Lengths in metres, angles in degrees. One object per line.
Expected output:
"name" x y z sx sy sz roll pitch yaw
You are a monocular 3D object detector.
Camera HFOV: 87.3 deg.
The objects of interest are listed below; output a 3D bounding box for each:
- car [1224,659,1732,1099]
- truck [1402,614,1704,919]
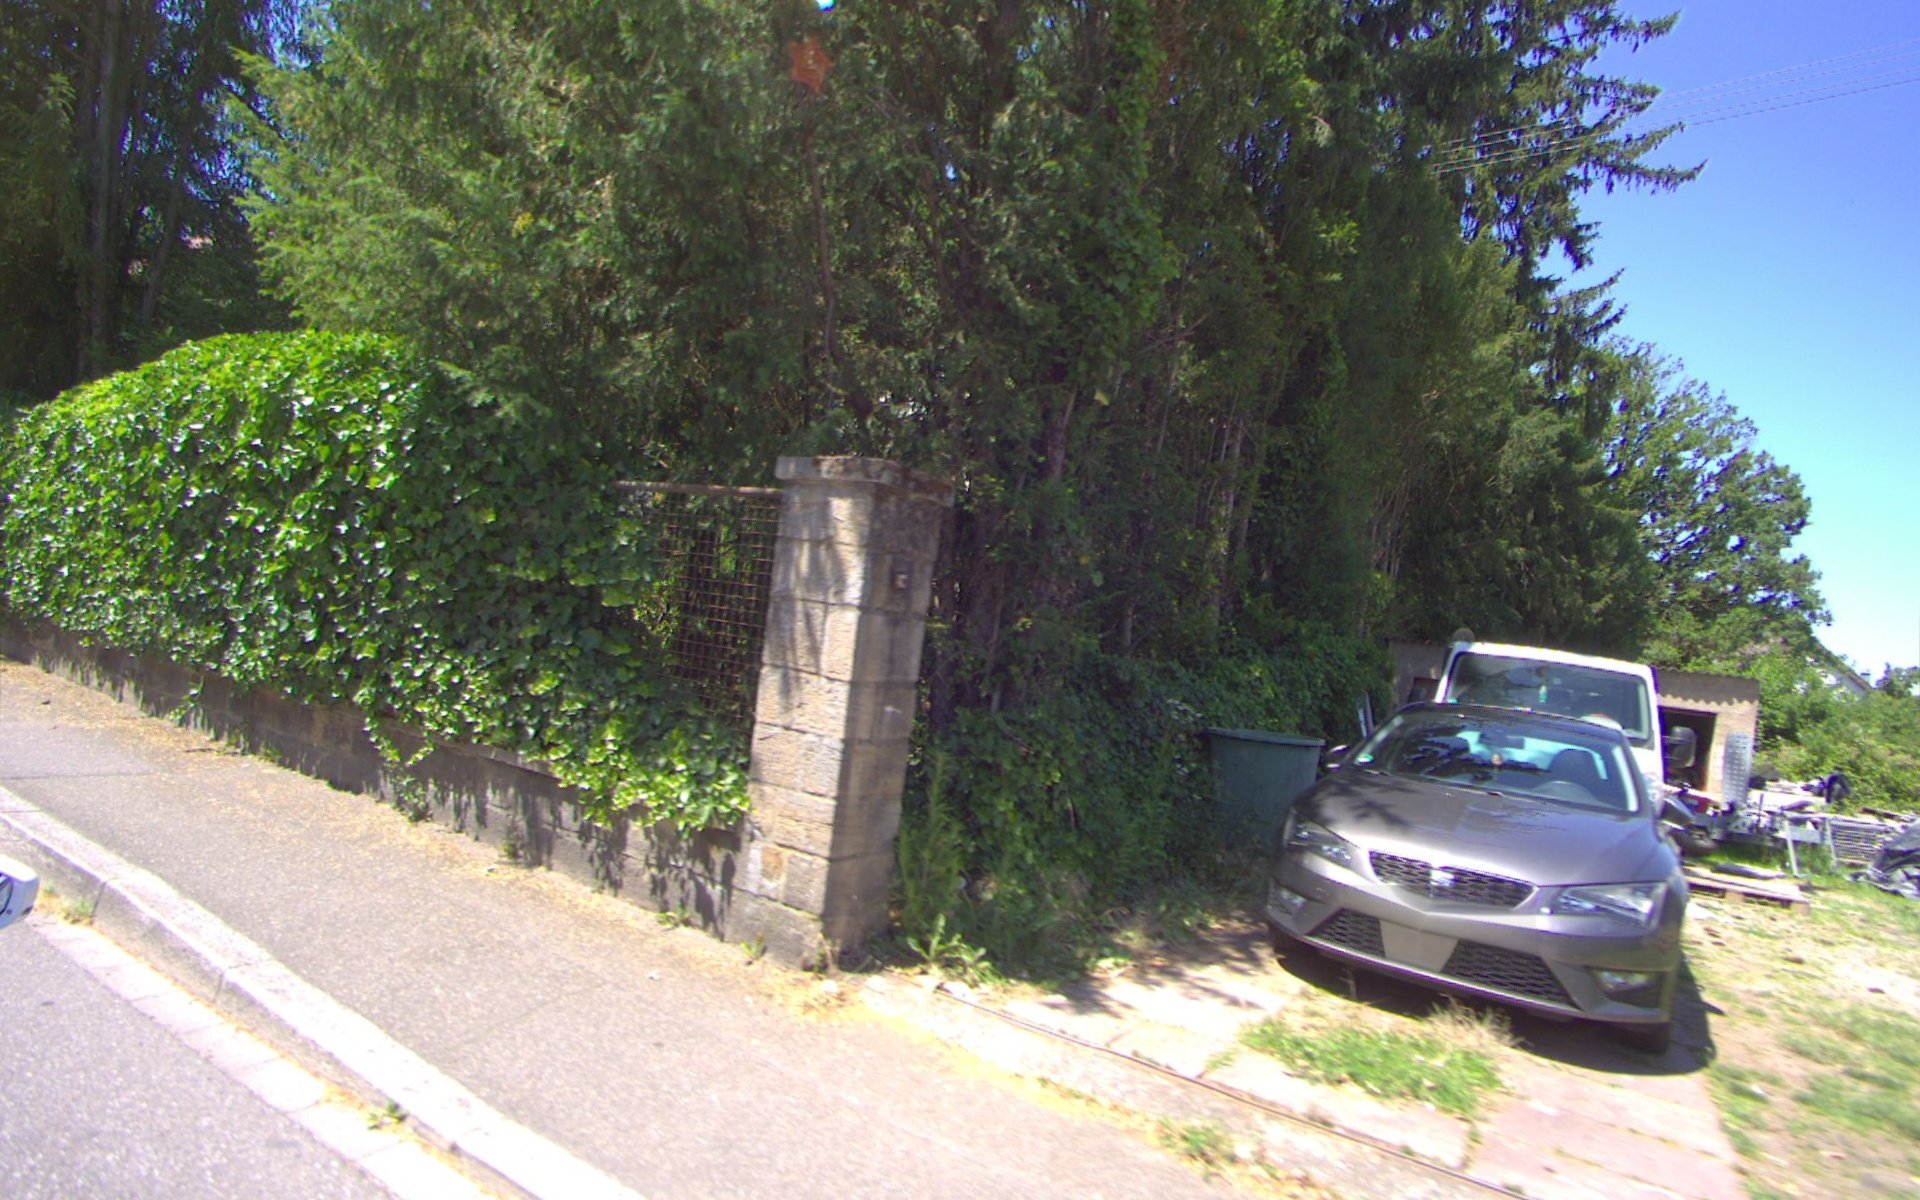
"car" 3.080 1.263 5.767 1.738 1.396 3.868 7 -3 34
"truck" 6.461 1.752 11.375 1.945 2.190 6.634 8 -3 29
